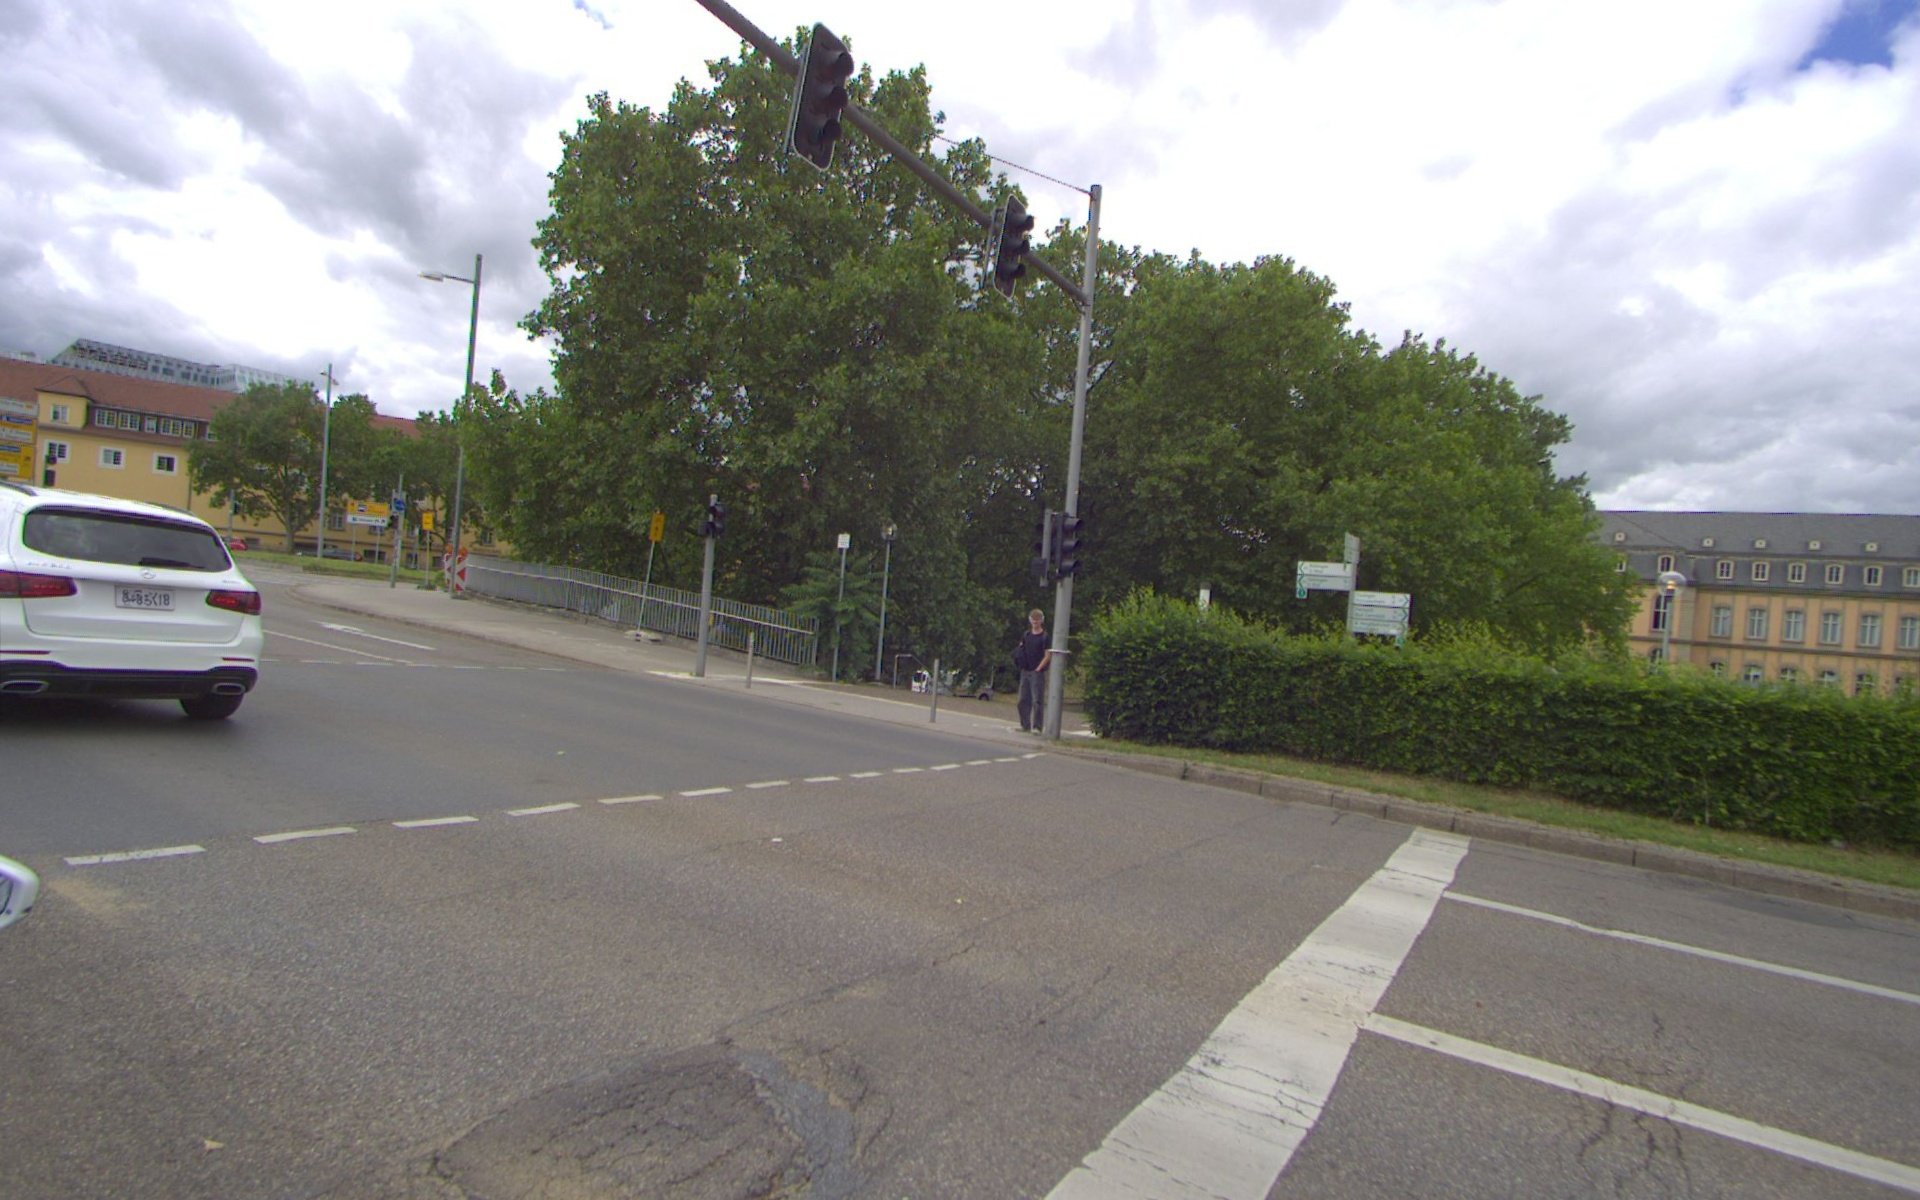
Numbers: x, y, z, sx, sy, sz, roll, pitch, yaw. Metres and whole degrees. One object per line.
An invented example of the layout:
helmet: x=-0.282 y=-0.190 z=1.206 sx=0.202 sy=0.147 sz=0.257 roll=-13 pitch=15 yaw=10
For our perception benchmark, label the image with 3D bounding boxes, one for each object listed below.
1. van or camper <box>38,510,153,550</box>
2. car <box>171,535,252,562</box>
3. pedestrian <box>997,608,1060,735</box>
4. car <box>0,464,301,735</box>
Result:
van or camper: x=-63.552 y=-5.100 z=74.113 sx=5.945 sy=2.038 sz=2.009 roll=7 pitch=-1 yaw=-23
car: x=-57.285 y=-3.894 z=77.049 sx=4.636 sy=1.437 sz=1.587 roll=7 pitch=-1 yaw=-27
pedestrian: x=1.017 y=1.057 z=14.863 sx=0.610 sy=1.785 sz=0.479 roll=6 pitch=0 yaw=29
car: x=-7.363 y=-0.132 z=7.927 sx=4.306 sy=1.667 sz=1.822 roll=6 pitch=-1 yaw=31
